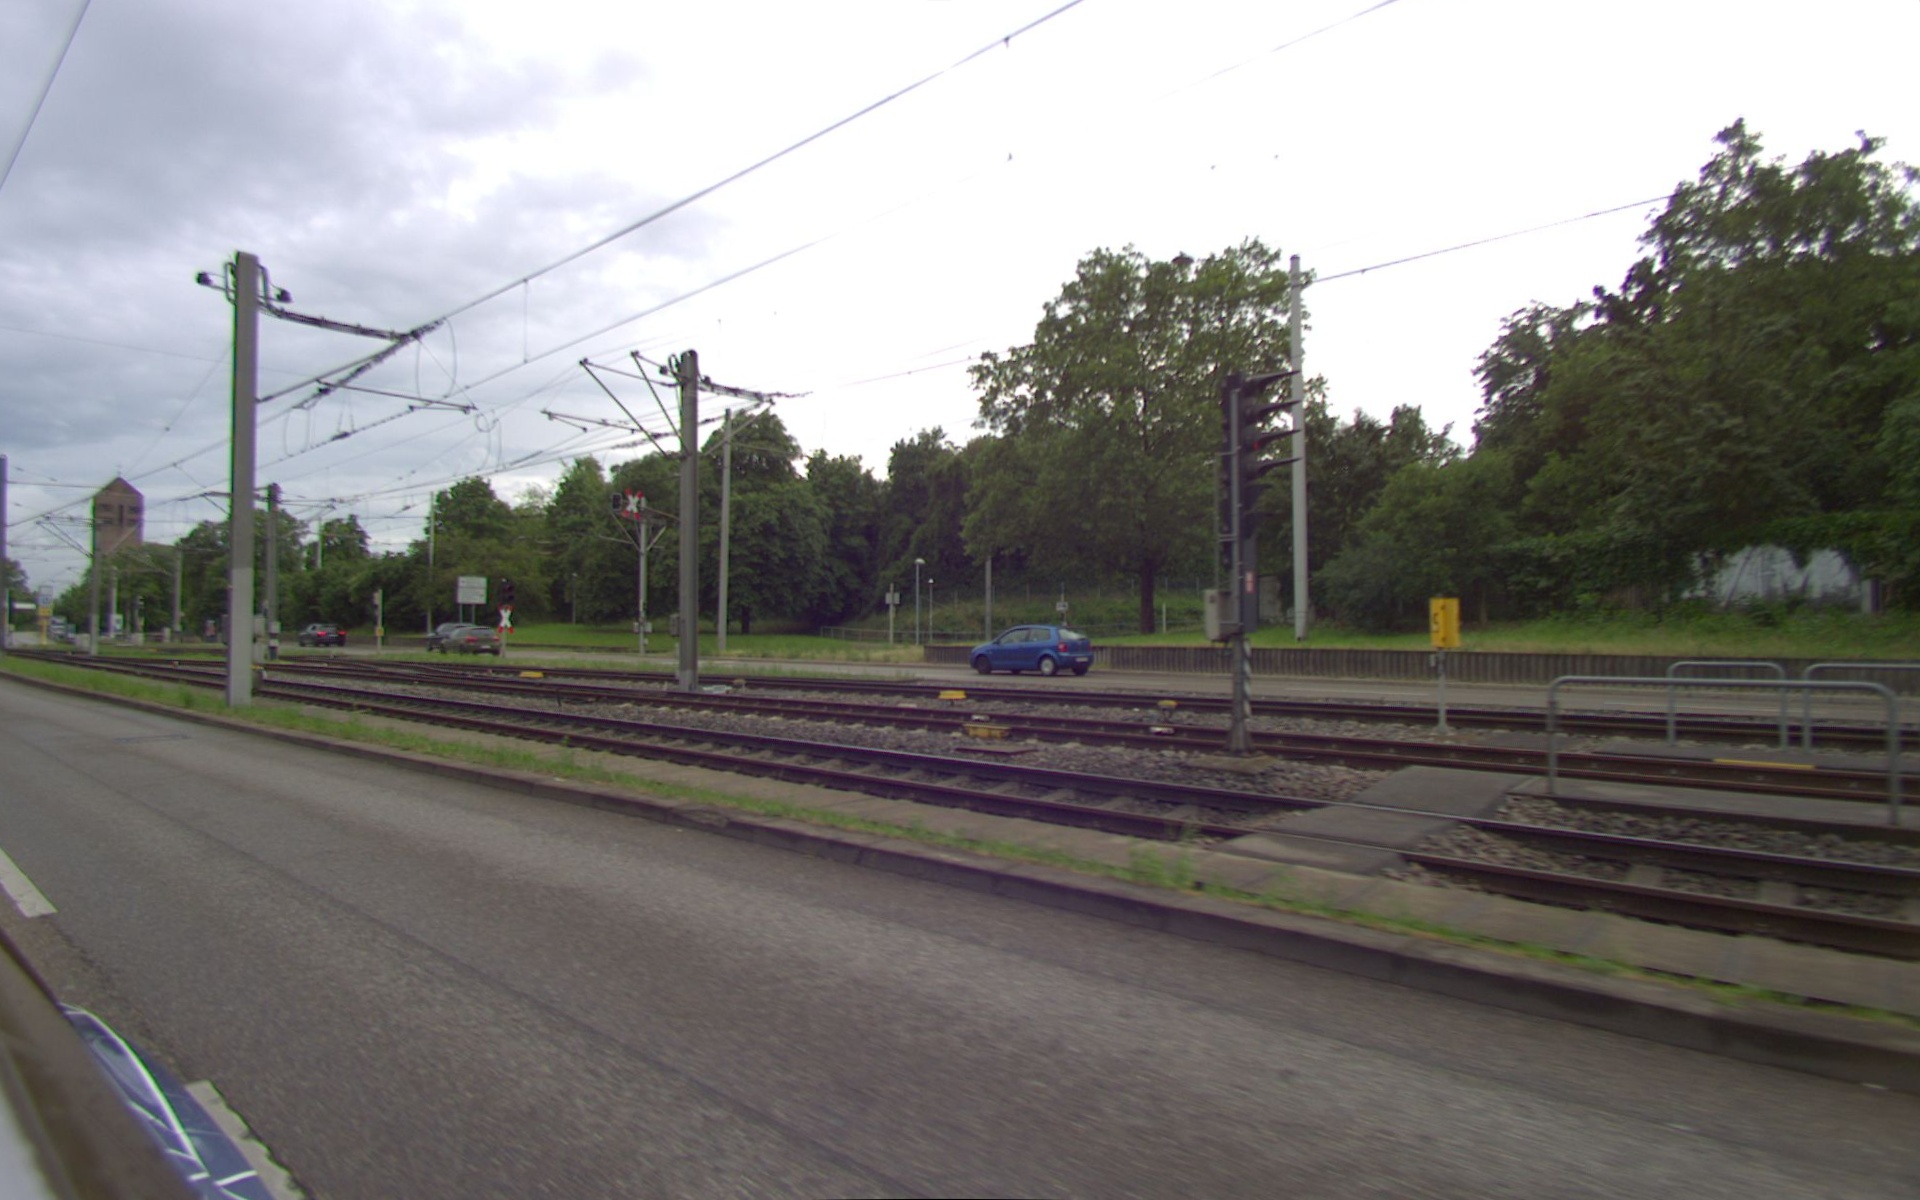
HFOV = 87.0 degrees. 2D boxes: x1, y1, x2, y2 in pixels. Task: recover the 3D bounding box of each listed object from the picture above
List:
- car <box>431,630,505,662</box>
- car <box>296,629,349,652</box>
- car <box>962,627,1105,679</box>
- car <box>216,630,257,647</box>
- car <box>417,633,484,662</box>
[{"bbox_3d":[-24.208,2.225,49.708,4.309,1.498,1.870,-2,-3,44],"label":"car"},{"bbox_3d":[-47.455,3.016,75.260,5.158,1.601,2.066,-2,-3,43],"label":"car"},{"bbox_3d":[2.073,1.498,29.143,3.901,1.408,1.741,-2,-3,44],"label":"car"},{"bbox_3d":[-63.712,3.417,89.094,4.680,1.458,1.907,-2,-3,41],"label":"car"},{"bbox_3d":[-29.619,2.756,58.758,4.847,1.607,1.926,-2,-3,43],"label":"car"}]
